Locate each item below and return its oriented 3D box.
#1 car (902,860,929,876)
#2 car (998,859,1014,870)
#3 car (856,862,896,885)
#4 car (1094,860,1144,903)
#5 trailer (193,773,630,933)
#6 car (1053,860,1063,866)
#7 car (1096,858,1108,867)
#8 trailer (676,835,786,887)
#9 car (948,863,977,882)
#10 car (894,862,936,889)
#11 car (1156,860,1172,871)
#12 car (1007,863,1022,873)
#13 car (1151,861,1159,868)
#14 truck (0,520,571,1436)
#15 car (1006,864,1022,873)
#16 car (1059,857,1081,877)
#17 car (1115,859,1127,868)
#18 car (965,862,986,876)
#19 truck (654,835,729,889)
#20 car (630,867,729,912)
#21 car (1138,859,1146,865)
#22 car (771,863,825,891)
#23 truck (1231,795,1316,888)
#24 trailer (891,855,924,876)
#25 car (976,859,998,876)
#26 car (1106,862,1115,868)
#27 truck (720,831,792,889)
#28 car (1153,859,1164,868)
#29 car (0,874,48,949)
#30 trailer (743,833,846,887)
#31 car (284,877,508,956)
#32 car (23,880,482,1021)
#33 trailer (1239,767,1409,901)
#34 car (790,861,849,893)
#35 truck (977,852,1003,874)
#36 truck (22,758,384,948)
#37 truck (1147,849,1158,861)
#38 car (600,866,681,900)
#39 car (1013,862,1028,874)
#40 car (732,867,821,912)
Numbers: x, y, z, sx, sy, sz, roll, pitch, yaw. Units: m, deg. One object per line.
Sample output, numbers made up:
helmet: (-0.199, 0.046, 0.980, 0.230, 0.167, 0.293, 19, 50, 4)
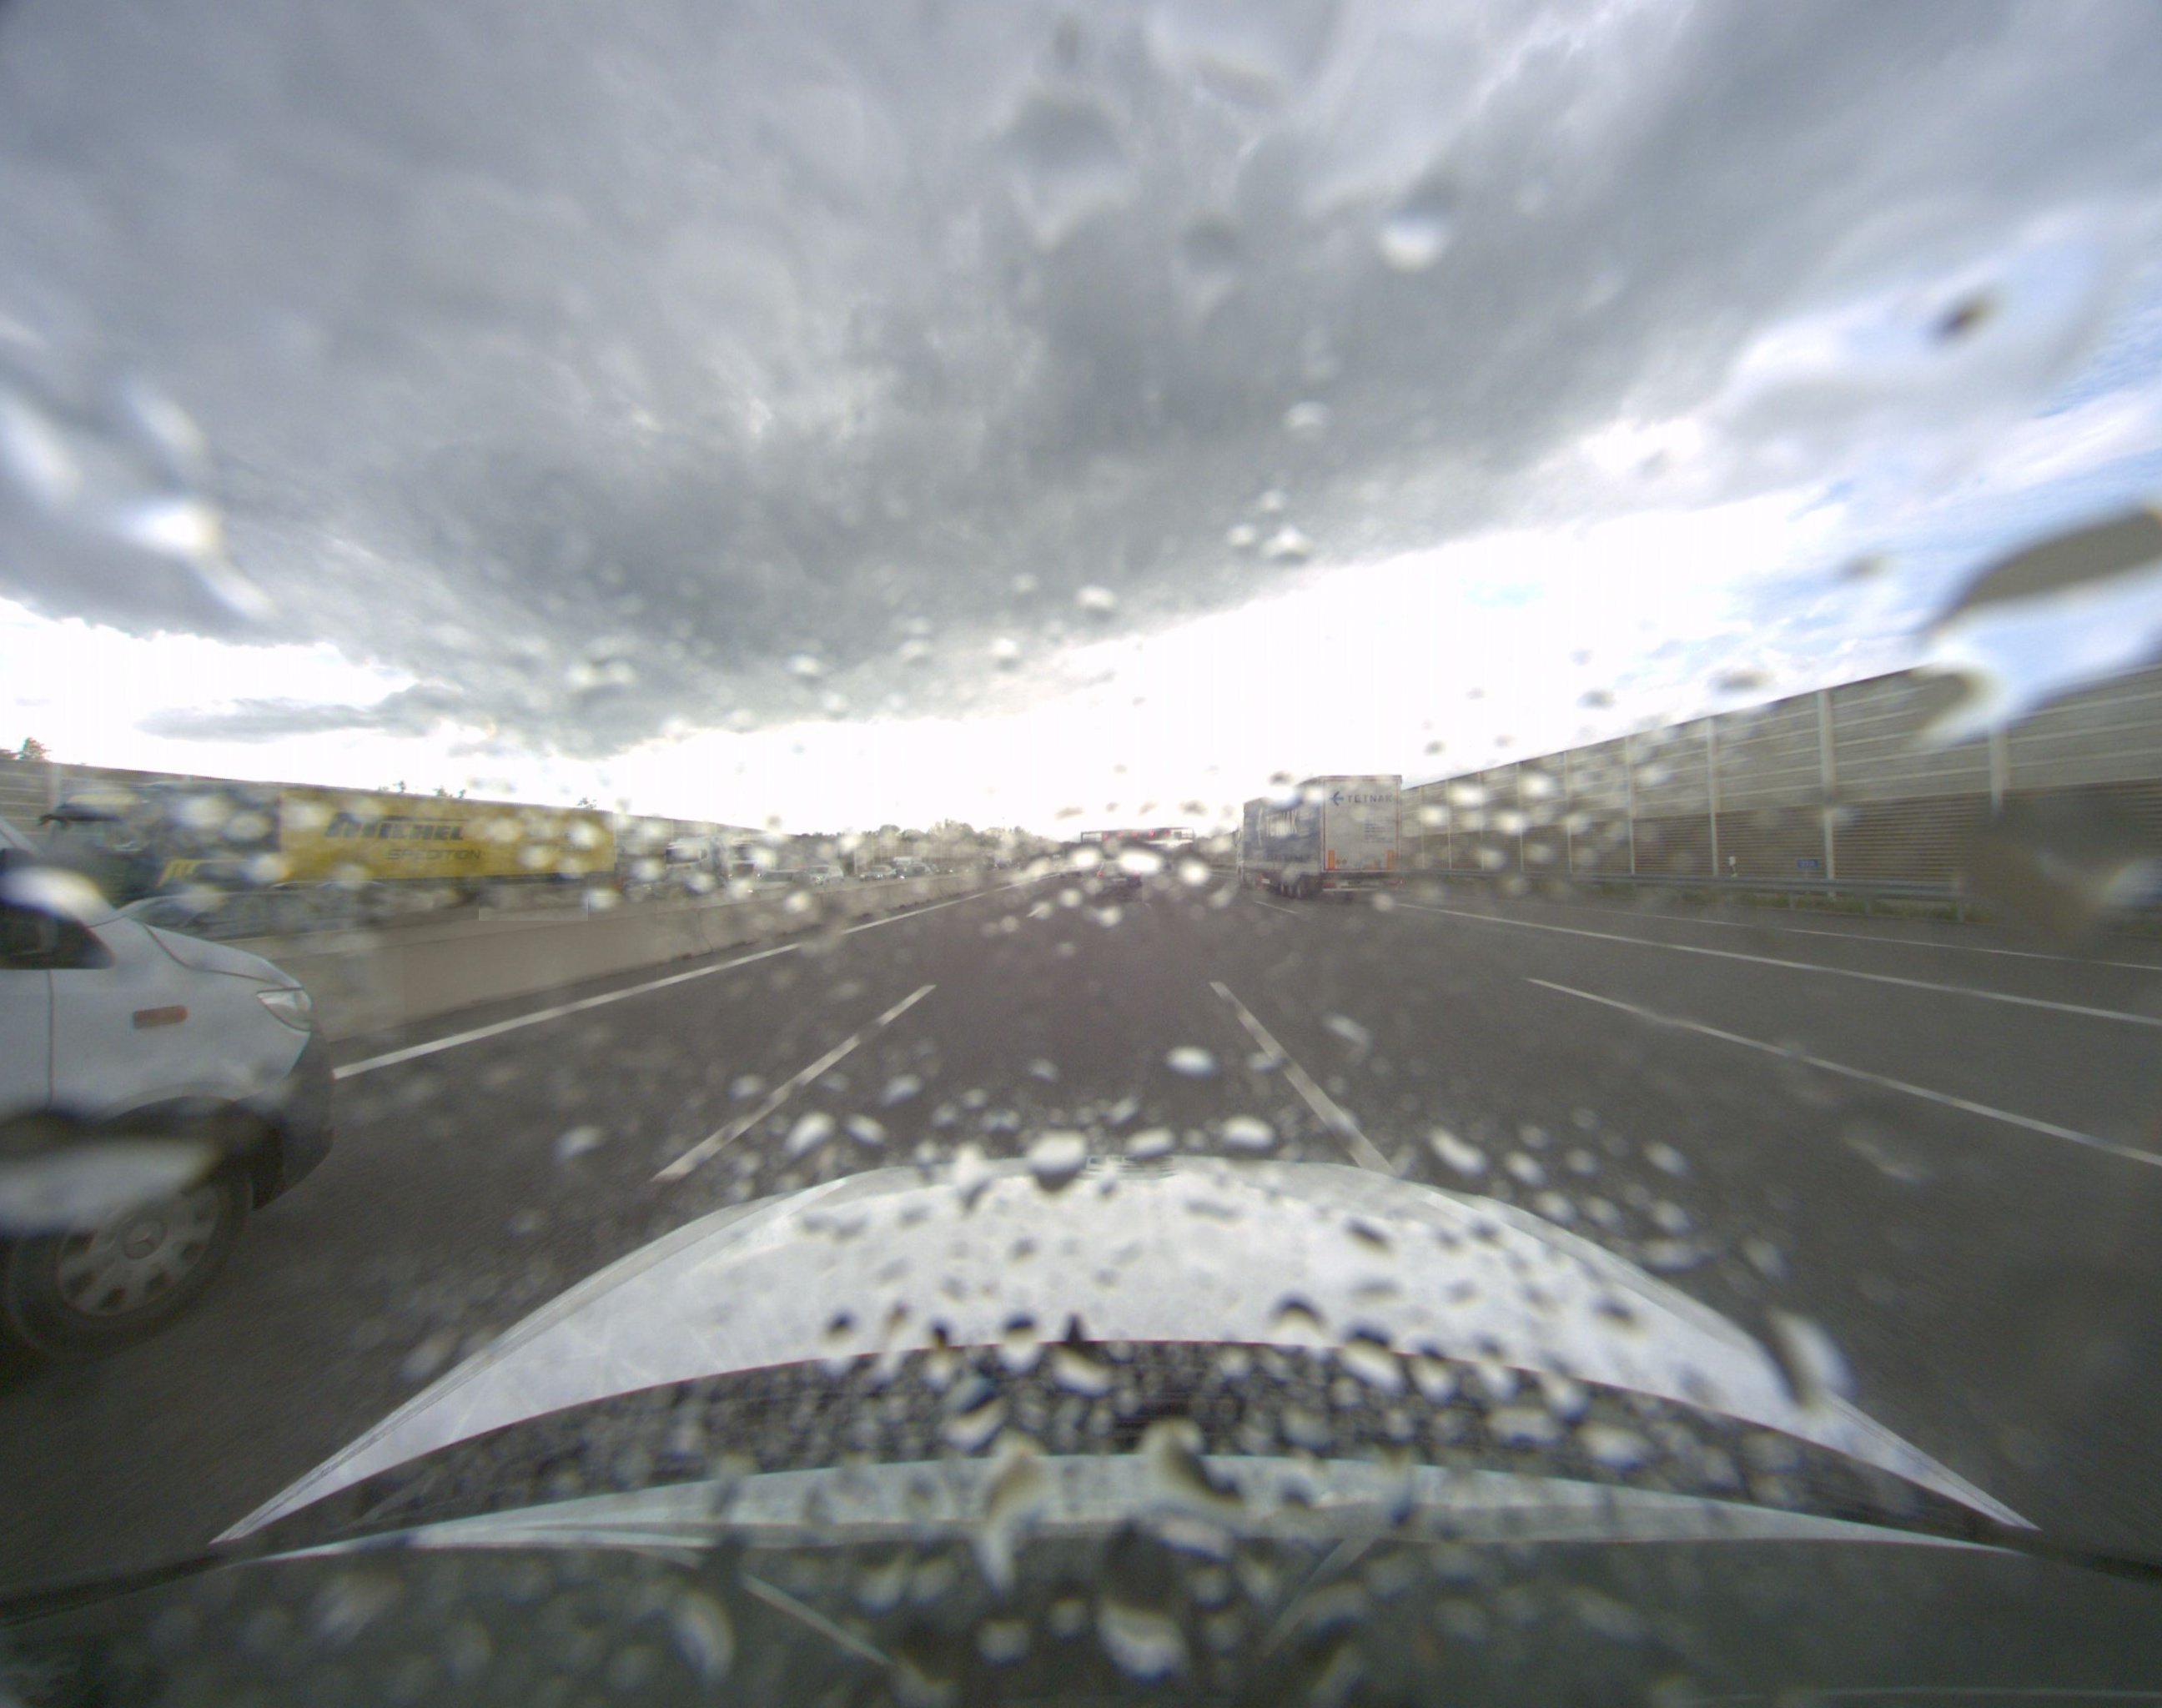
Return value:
car: (-18.337, 1.541, 90.553, 1.948, 1.699, 4.411, -1, 0, 1)
car: (-12.087, 1.619, 131.231, 1.866, 1.699, 5.017, -1, 0, 2)
car: (-15.972, 1.486, 63.690, 1.948, 1.699, 4.411, -1, 0, 1)
car: (1.345, 0.966, 30.214, 1.711, 1.417, 4.279, -1, 0, 1)
trailer: (-21.155, 0.041, 28.065, 2.751, 4.032, 14.457, -1, -1, 2)
car: (-6.222, 2.430, 220.803, 2.050, 1.491, 5.003, -2, -1, 5)
car: (4.052, 1.703, 157.507, 1.959, 1.561, 4.438, -2, -1, 5)
trailer: (-30.272, 0.624, 71.474, 2.923, 4.032, 13.870, -1, -1, 3)
car: (-11.134, 1.734, 76.931, 1.948, 1.699, 4.894, -1, 0, 1)
car: (-12.163, 1.547, 60.015, 2.054, 1.816, 4.779, -1, 0, 1)
car: (11.526, 1.612, 113.287, 1.942, 1.418, 4.234, -2, -1, 2)
car: (-11.808, 2.441, 144.327, 2.052, 1.600, 5.000, -2, -1, 3)
car: (17.780, 2.433, 195.627, 1.874, 1.561, 4.438, -2, -1, 5)
truck: (-4.080, 0.337, 0.899, 2.298, 2.440, 7.151, -1, 0, 2)
car: (-11.867, 2.551, 144.467, 2.050, 1.491, 5.003, -2, -1, 5)
car: (-0.922, 1.118, 70.820, 1.711, 1.624, 4.280, -1, 0, 2)
car: (7.438, 1.771, 151.802, 1.959, 1.561, 4.438, -2, -1, 5)
car: (-13.961, 1.981, 108.224, 2.054, 1.699, 5.089, -1, 0, 1)
truck: (-30.622, 0.612, 64.285, 2.905, 4.035, 5.729, -1, -1, 2)
car: (-17.422, 1.496, 35.629, 2.054, 1.699, 4.411, -1, 0, 1)
car: (16.591, 2.127, 221.943, 1.958, 1.561, 4.440, -2, -1, 6)
car: (-20.384, 1.624, 58.880, 2.054, 1.816, 4.779, -1, 0, 1)
truck: (9.035, -0.519, 38.854, 2.735, 4.035, 5.728, -1, -1, 1)
trailer: (-21.856, 1.365, 102.753, 2.449, 2.495, 6.090, -1, 0, 3)
car: (-10.556, 1.498, 91.674, 1.948, 1.699, 4.411, -1, 0, 1)
car: (7.867, 2.908, 216.779, 1.959, 1.561, 4.438, -2, -1, 5)
truck: (-24.039, 0.465, 60.542, 2.734, 4.035, 5.729, -1, -1, 3)
car: (13.934, 1.742, 146.960, 1.874, 1.542, 4.437, -2, -1, 4)
car: (-26.112, 1.369, 17.641, 2.054, 1.723, 4.212, -1, 0, 1)
trailer: (-23.583, 0.498, 68.362, 2.750, 4.032, 14.463, -1, -1, 3)
car: (-17.659, 1.523, 21.362, 2.054, 1.699, 4.411, -1, 0, 1)
car: (-13.797, 1.446, 14.361, 2.054, 1.755, 5.808, -1, 0, 1)
trailer: (8.836, -0.562, 32.179, 2.751, 4.032, 14.457, -1, -1, 2)
car: (-16.547, 1.423, 51.807, 2.054, 1.816, 4.779, -1, 0, 1)
truck: (-15.551, 1.501, 140.142, 2.684, 3.527, 10.005, 0, 0, 4)
truck: (-21.370, -0.007, 20.401, 2.735, 4.035, 5.728, -1, -1, 1)
truck: (21.629, 0.380, 246.741, 3.138, 3.602, 12.715, 0, 0, 5)
car: (-24.595, 1.601, 45.680, 2.054, 1.699, 4.411, -1, 0, 1)
car: (-9.016, 2.098, 121.643, 1.866, 1.699, 4.223, -1, 0, 2)
car: (-13.007, 1.481, 35.124, 2.054, 1.699, 4.411, -1, 0, 1)
